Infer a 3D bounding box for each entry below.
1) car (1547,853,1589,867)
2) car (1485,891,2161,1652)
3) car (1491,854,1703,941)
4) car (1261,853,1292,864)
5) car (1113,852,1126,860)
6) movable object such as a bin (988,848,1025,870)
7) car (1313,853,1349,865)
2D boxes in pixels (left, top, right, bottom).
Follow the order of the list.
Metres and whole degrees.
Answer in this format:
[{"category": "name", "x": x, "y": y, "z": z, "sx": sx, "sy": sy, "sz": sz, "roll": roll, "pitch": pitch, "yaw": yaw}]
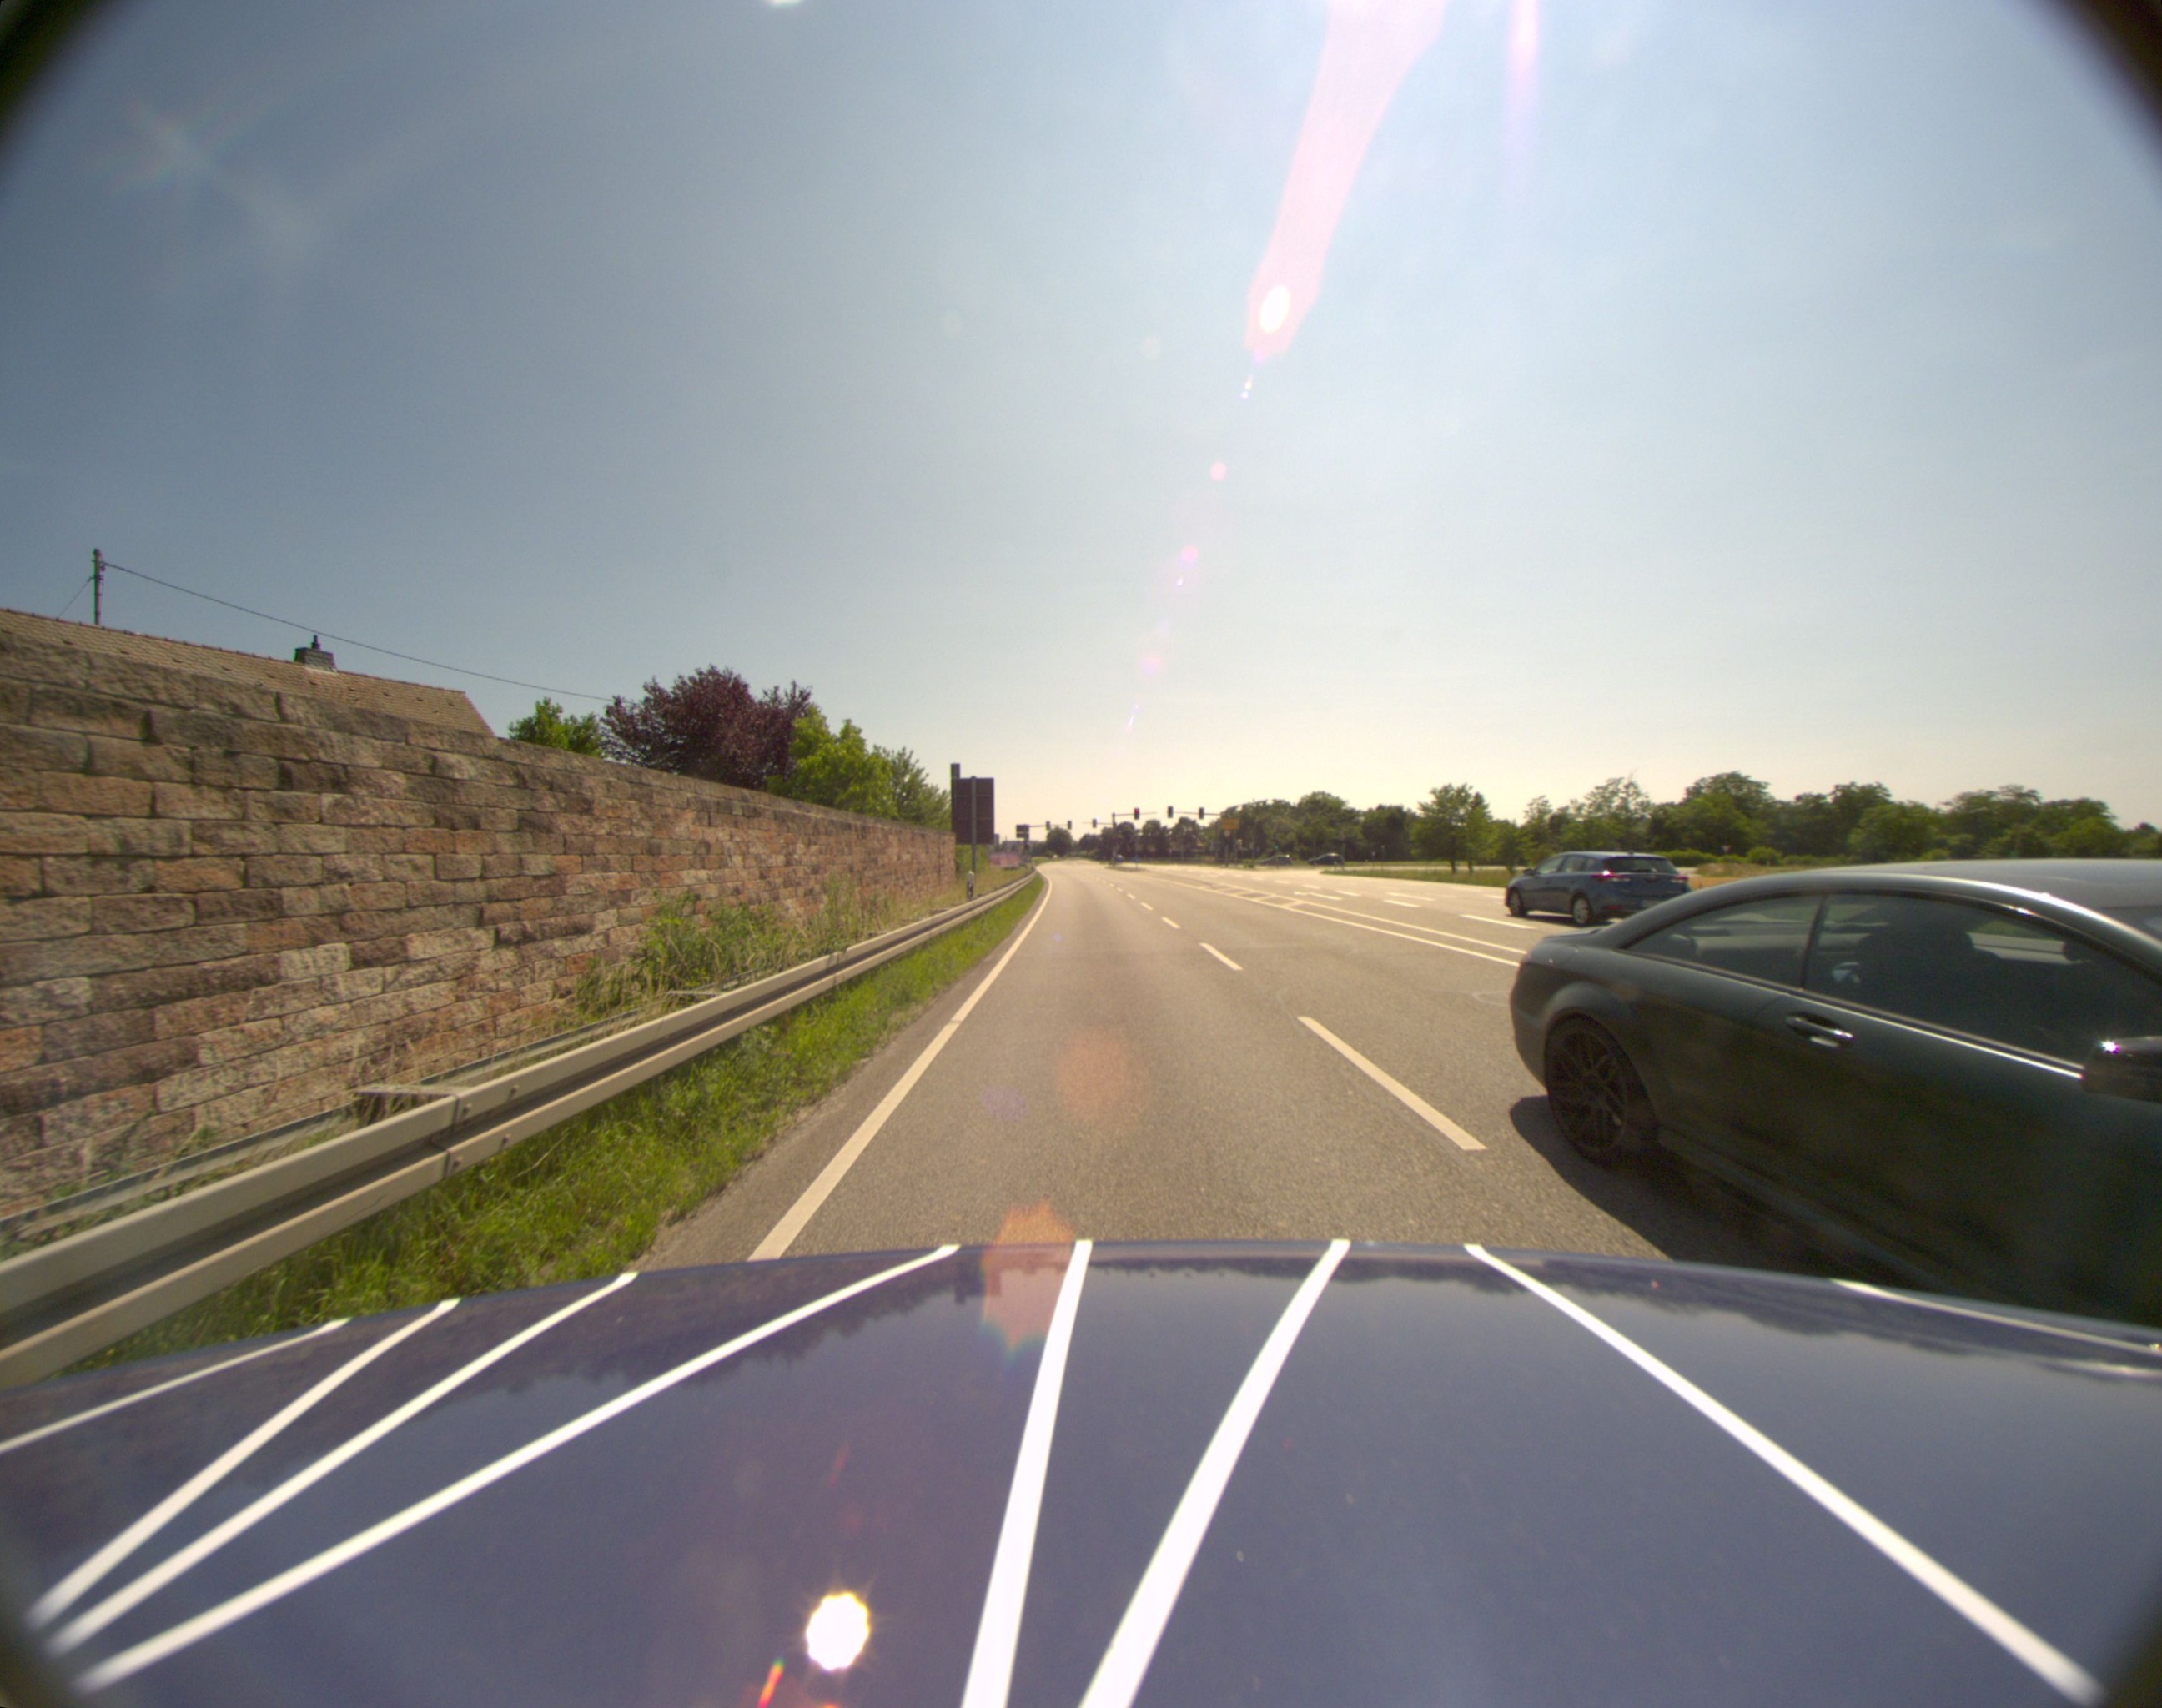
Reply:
[{"category": "car", "x": 60.399, "y": 0.704, "z": 94.315, "sx": 3.995, "sy": 1.565, "sz": 1.738, "roll": -2, "pitch": 1, "yaw": 6}, {"category": "car", "x": 3.202, "y": 0.961, "z": 1.913, "sx": 1.815, "sy": 1.441, "sz": 4.877, "roll": -1, "pitch": 0, "yaw": 1}, {"category": "car", "x": 10.302, "y": 0.777, "z": 15.627, "sx": 1.763, "sy": 1.449, "sz": 4.232, "roll": 2, "pitch": 1, "yaw": 6}, {"category": "car", "x": 25.846, "y": 0.579, "z": 100.699, "sx": 3.874, "sy": 1.379, "sz": 1.636, "roll": 0, "pitch": 0, "yaw": 11}, {"category": "car", "x": 7.537, "y": 0.374, "z": 147.772, "sx": 1.836, "sy": 1.591, "sz": 4.302, "roll": 1, "pitch": 1, "yaw": -6}, {"category": "movable object such as a bin", "x": -8.472, "y": 0.551, "z": 86.277, "sx": 4.106, "sy": 2.318, "sz": 1.276, "roll": -2, "pitch": 1, "yaw": -6}, {"category": "car", "x": 32.617, "y": 0.644, "z": 99.364, "sx": 4.361, "sy": 1.585, "sz": 1.637, "roll": 1, "pitch": 0, "yaw": 14}]
